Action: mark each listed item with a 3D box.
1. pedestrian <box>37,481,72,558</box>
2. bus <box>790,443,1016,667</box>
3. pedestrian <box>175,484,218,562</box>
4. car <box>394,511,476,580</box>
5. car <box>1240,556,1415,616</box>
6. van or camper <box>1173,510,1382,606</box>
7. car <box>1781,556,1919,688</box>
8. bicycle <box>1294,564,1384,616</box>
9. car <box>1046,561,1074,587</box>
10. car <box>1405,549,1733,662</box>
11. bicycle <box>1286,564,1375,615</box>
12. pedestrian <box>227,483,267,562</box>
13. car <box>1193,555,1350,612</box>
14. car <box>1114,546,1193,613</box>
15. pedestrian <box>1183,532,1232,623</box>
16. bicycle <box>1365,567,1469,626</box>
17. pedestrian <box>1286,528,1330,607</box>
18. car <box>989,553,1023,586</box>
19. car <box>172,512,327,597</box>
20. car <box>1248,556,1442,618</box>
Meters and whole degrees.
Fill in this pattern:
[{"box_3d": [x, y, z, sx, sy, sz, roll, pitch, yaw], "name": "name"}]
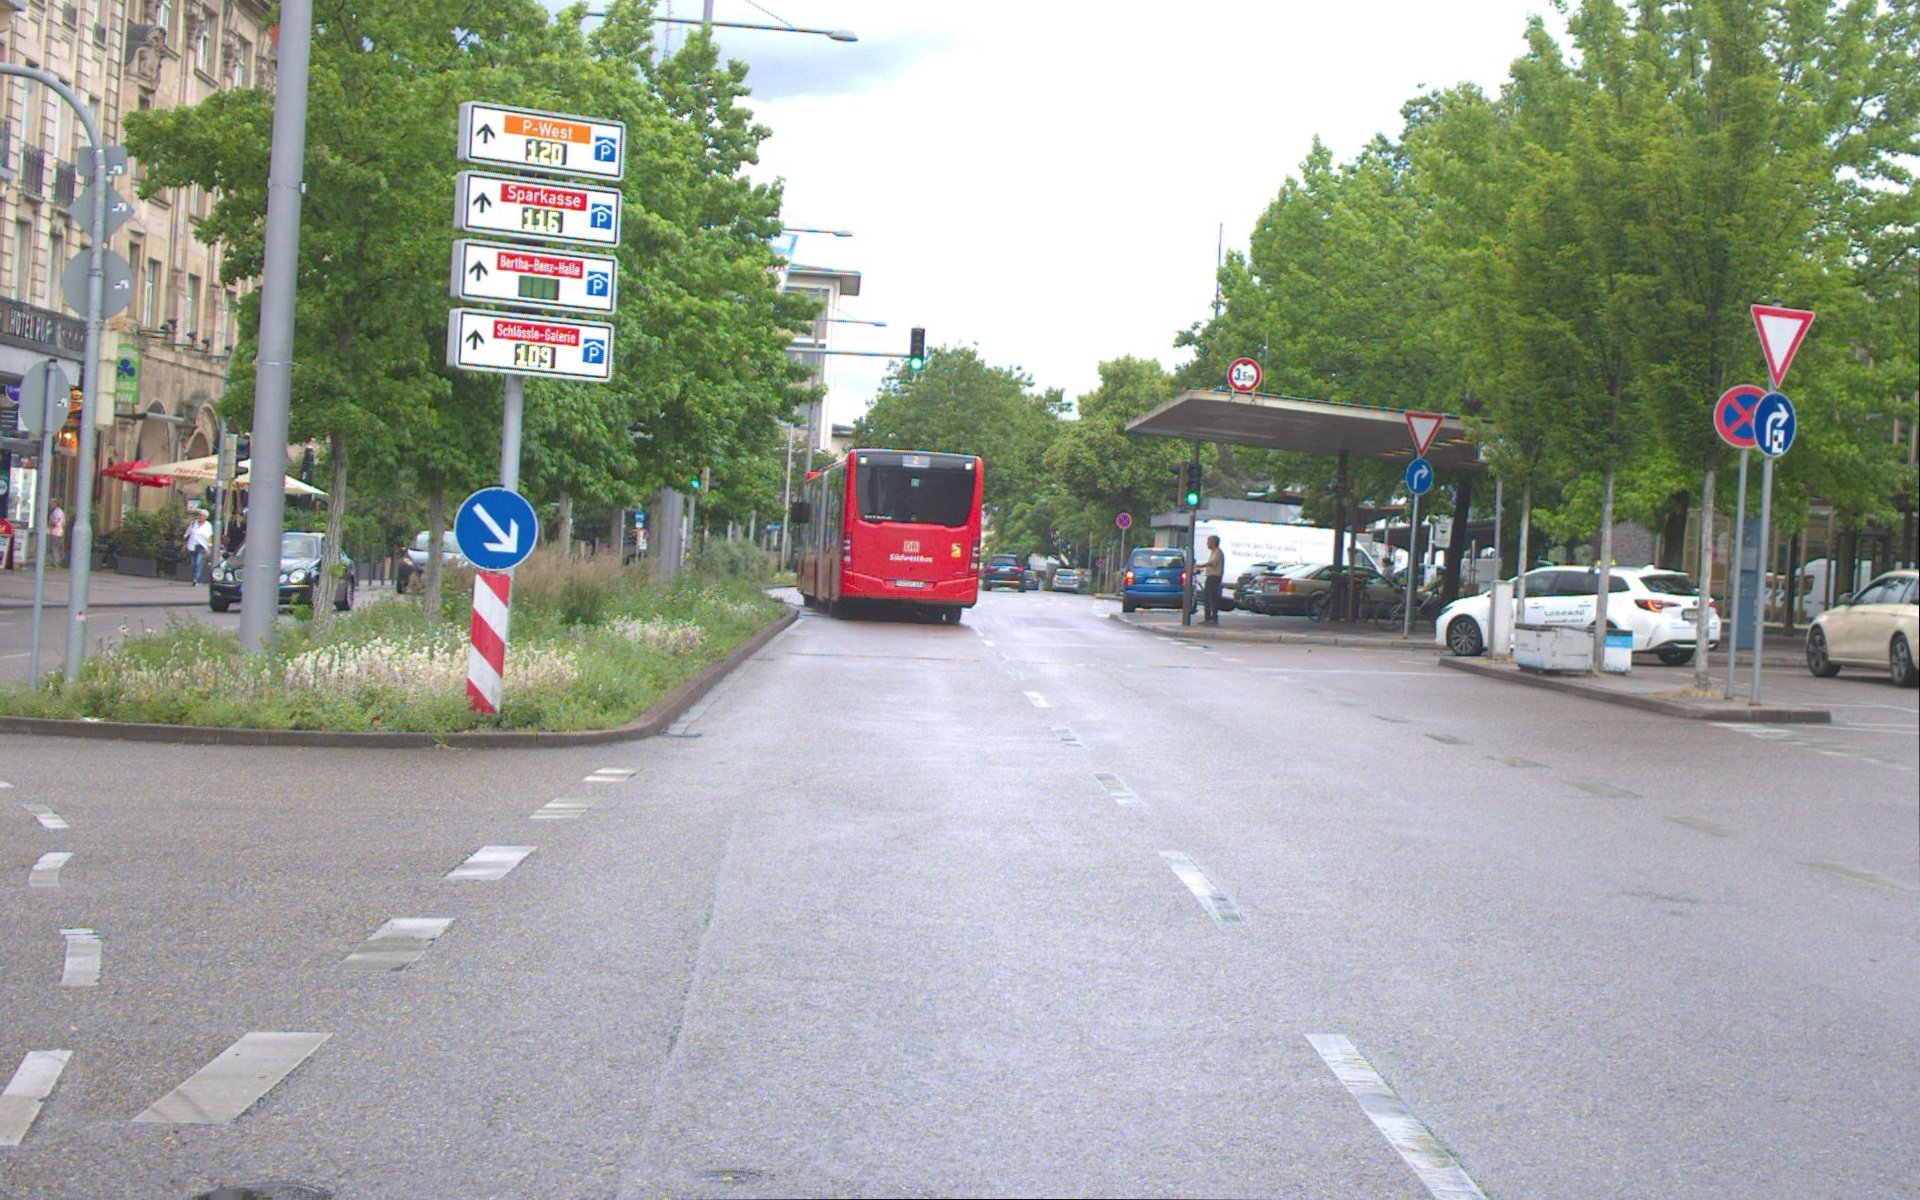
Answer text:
[{"box_3d": [-19.645, -1.746, 74.600, 0.666, 1.658, 0.537, 1, 0, -9], "name": "pedestrian"}, {"box_3d": [-1.282, -0.860, 67.027, 3.544, 3.966, 11.173, 1, 1, -5], "name": "bus"}, {"box_3d": [-16.286, -1.642, 73.365, 0.681, 1.658, 0.807, 1, 0, 3], "name": "pedestrian"}, {"box_3d": [-11.928, -1.232, 78.279, 1.676, 1.507, 3.864, 1, 1, -6], "name": "car"}, {"box_3d": [9.200, -0.353, 85.990, 3.986, 1.354, 1.865, 2, 0, -31], "name": "car"}, {"box_3d": [9.497, -1.235, 102.782, 5.945, 2.753, 2.199, 1, 1, -27], "name": "van or camper"}, {"box_3d": [12.586, 0.261, 44.703, 1.993, 1.594, 4.960, 1, 1, -8], "name": "car"}, {"box_3d": [7.885, -0.214, 71.532, 1.827, 1.052, 0.420, 1, 0, -18], "name": "bicycle"}, {"box_3d": [6.405, -1.662, 221.021, 1.644, 1.655, 3.650, 1, 1, 0], "name": "car"}, {"box_3d": [9.029, 0.057, 51.295, 1.758, 1.540, 4.775, 2, 0, -40], "name": "car"}, {"box_3d": [7.768, -0.219, 71.980, 1.827, 1.052, 0.420, 1, 0, -18], "name": "bicycle"}, {"box_3d": [-15.206, -1.647, 73.347, 0.681, 1.658, 0.807, 1, 0, 0], "name": "pedestrian"}, {"box_3d": [8.762, -0.465, 96.734, 3.986, 1.438, 1.865, 2, 0, -27], "name": "car"}, {"box_3d": [4.820, -0.508, 85.427, 1.859, 1.564, 3.999, 2, 0, 3], "name": "car"}, {"box_3d": [4.810, -0.429, 66.887, 0.746, 1.741, 0.836, 2, 0, -9], "name": "pedestrian"}, {"box_3d": [8.371, -0.060, 63.003, 1.827, 1.052, 0.420, 1, 0, -1], "name": "bicycle"}, {"box_3d": [8.214, -0.757, 81.165, 0.856, 1.829, 1.190, 1, 0, -1], "name": "pedestrian"}, {"box_3d": [2.213, -1.465, 166.216, 1.595, 1.555, 3.650, 1, 1, 0], "name": "car"}, {"box_3d": [-12.411, -0.790, 60.274, 1.955, 1.418, 4.000, 1, 1, -1], "name": "car"}, {"box_3d": [9.217, -0.314, 82.324, 4.184, 1.321, 1.841, 2, 0, -20], "name": "car"}]
